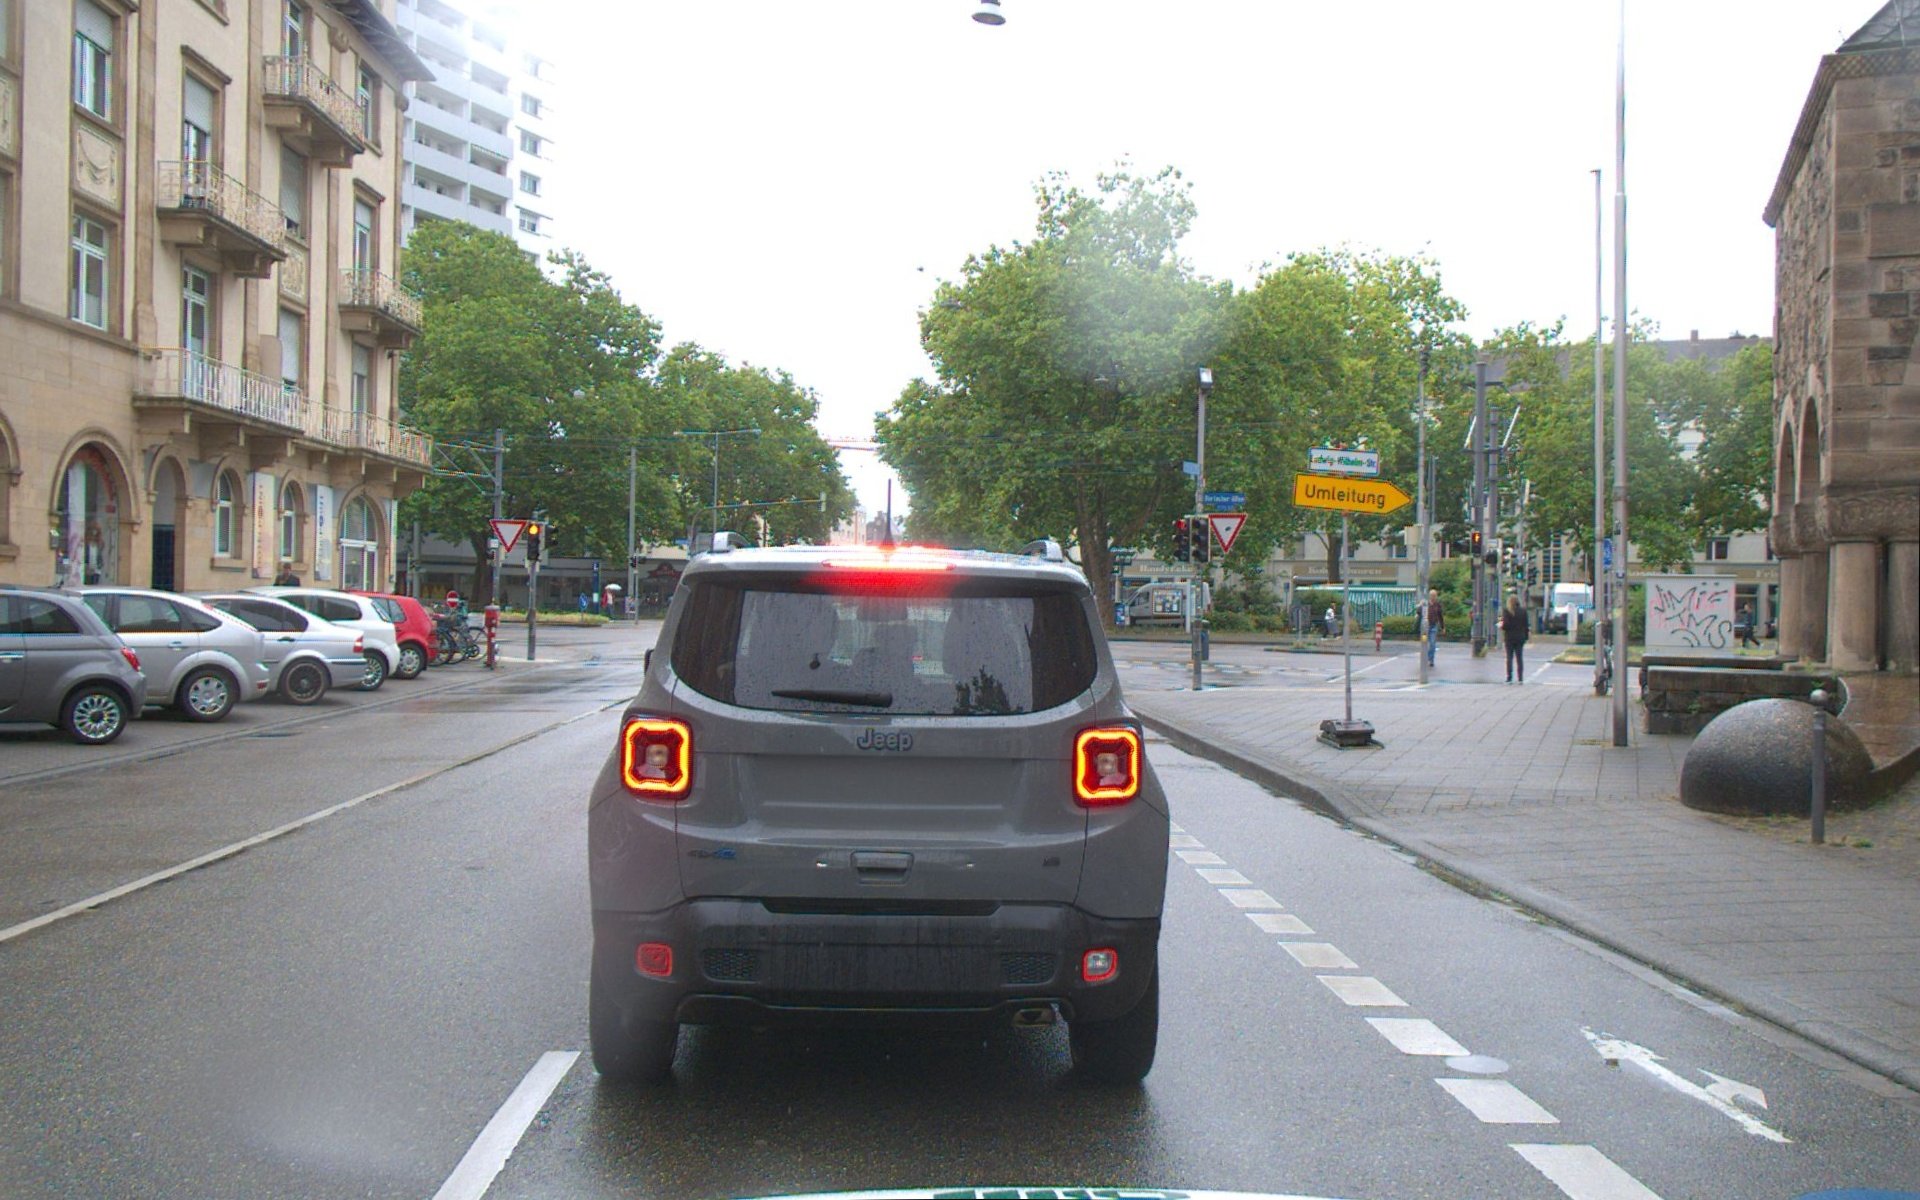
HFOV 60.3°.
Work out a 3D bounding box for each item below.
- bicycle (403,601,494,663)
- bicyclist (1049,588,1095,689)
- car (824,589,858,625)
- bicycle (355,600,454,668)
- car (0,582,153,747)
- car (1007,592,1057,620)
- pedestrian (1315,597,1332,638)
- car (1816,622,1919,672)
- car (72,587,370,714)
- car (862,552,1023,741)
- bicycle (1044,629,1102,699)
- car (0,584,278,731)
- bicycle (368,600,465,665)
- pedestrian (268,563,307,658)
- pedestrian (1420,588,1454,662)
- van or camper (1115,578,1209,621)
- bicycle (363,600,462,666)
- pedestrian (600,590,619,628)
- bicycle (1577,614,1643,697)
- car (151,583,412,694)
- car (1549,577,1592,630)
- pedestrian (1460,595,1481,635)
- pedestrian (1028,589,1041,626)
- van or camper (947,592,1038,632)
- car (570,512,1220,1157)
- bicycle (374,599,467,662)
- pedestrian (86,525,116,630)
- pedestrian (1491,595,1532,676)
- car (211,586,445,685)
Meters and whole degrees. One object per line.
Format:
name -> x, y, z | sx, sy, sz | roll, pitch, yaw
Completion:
bicycle -> -10.868, 0.675, 35.157 | 1.728, 1.288, 0.608 | 0, 0, -3
bicyclist -> 1.851, 0.620, 27.409 | 0.673, 1.646, 0.883 | 0, 0, -2
car -> -6.087, 0.347, 84.490 | 1.688, 1.769, 3.726 | 1, 0, -5
bicycle -> -10.748, 0.653, 32.021 | 1.728, 1.288, 0.522 | 0, 0, -3
car -> -9.964, 0.610, 16.264 | 3.372, 1.585, 1.629 | 1, 0, -41
car -> 5.223, 0.432, 119.800 | 3.363, 2.049, 1.549 | 0, -1, 12
pedestrian -> 14.898, 0.715, 67.746 | 0.600, 1.631, 0.494 | 0, 0, 23
car -> 30.242, 1.542, 54.684 | 3.368, 1.579, 1.592 | 0, 0, 25
car -> -10.002, 0.638, 22.476 | 3.372, 1.585, 1.681 | 1, 0, -41
car -> -0.232, 0.503, 20.016 | 1.734, 2.049, 3.999 | 1, 0, -1
bicycle -> 1.853, 1.028, 27.409 | 0.678, 1.039, 2.657 | 0, 0, -2
car -> -9.958, 0.621, 19.293 | 3.372, 1.585, 1.681 | 1, 0, -41
bicycle -> -10.916, 0.649, 33.248 | 1.774, 1.288, 0.498 | 0, 0, -3
pedestrian -> -14.593, 0.223, 35.897 | 0.556, 2.049, 0.654 | 1, 0, -1
pedestrian -> 11.712, 0.603, 40.630 | 0.769, 1.790, 0.946 | 0, 0, 14
van or camper -> 11.600, -0.043, 95.206 | 5.149, 2.356, 2.090 | 1, 0, 3
bicycle -> -10.776, 0.643, 32.567 | 1.774, 1.288, 0.498 | 0, 0, -3
pedestrian -> -17.198, 0.419, 81.191 | 0.678, 1.858, 0.620 | 0, 0, 24
bicycle -> 9.857, 0.818, 25.140 | 0.322, 1.174, 2.076 | 0, 0, 4
car -> -10.354, 0.556, 25.328 | 3.372, 1.585, 1.681 | 1, 0, -41
car -> 31.238, 0.164, 84.548 | 1.868, 2.600, 4.786 | 0, 0, 22
pedestrian -> 20.609, 0.603, 66.730 | 0.660, 1.581, 0.761 | 0, -2, 27
pedestrian -> 4.211, 0.405, 93.105 | 0.637, 2.049, 0.483 | 1, 0, 11
van or camper -> 2.477, 0.885, 125.003 | 6.395, 2.963, 2.493 | 0, 0, 24
car -> -0.231, 0.617, 6.378 | 1.739, 1.716, 3.846 | 0, 0, -2
bicycle -> -11.165, 0.629, 34.273 | 1.728, 1.288, 0.608 | 0, 0, -3
pedestrian -> -15.311, -0.396, 29.471 | 0.359, 1.854, 0.347 | 0, -1, -3
pedestrian -> 11.492, 0.734, 34.476 | 0.767, 1.674, 0.655 | 0, 0, 23
car -> -10.740, 0.572, 28.189 | 3.372, 1.585, 1.681 | 1, 0, -41
